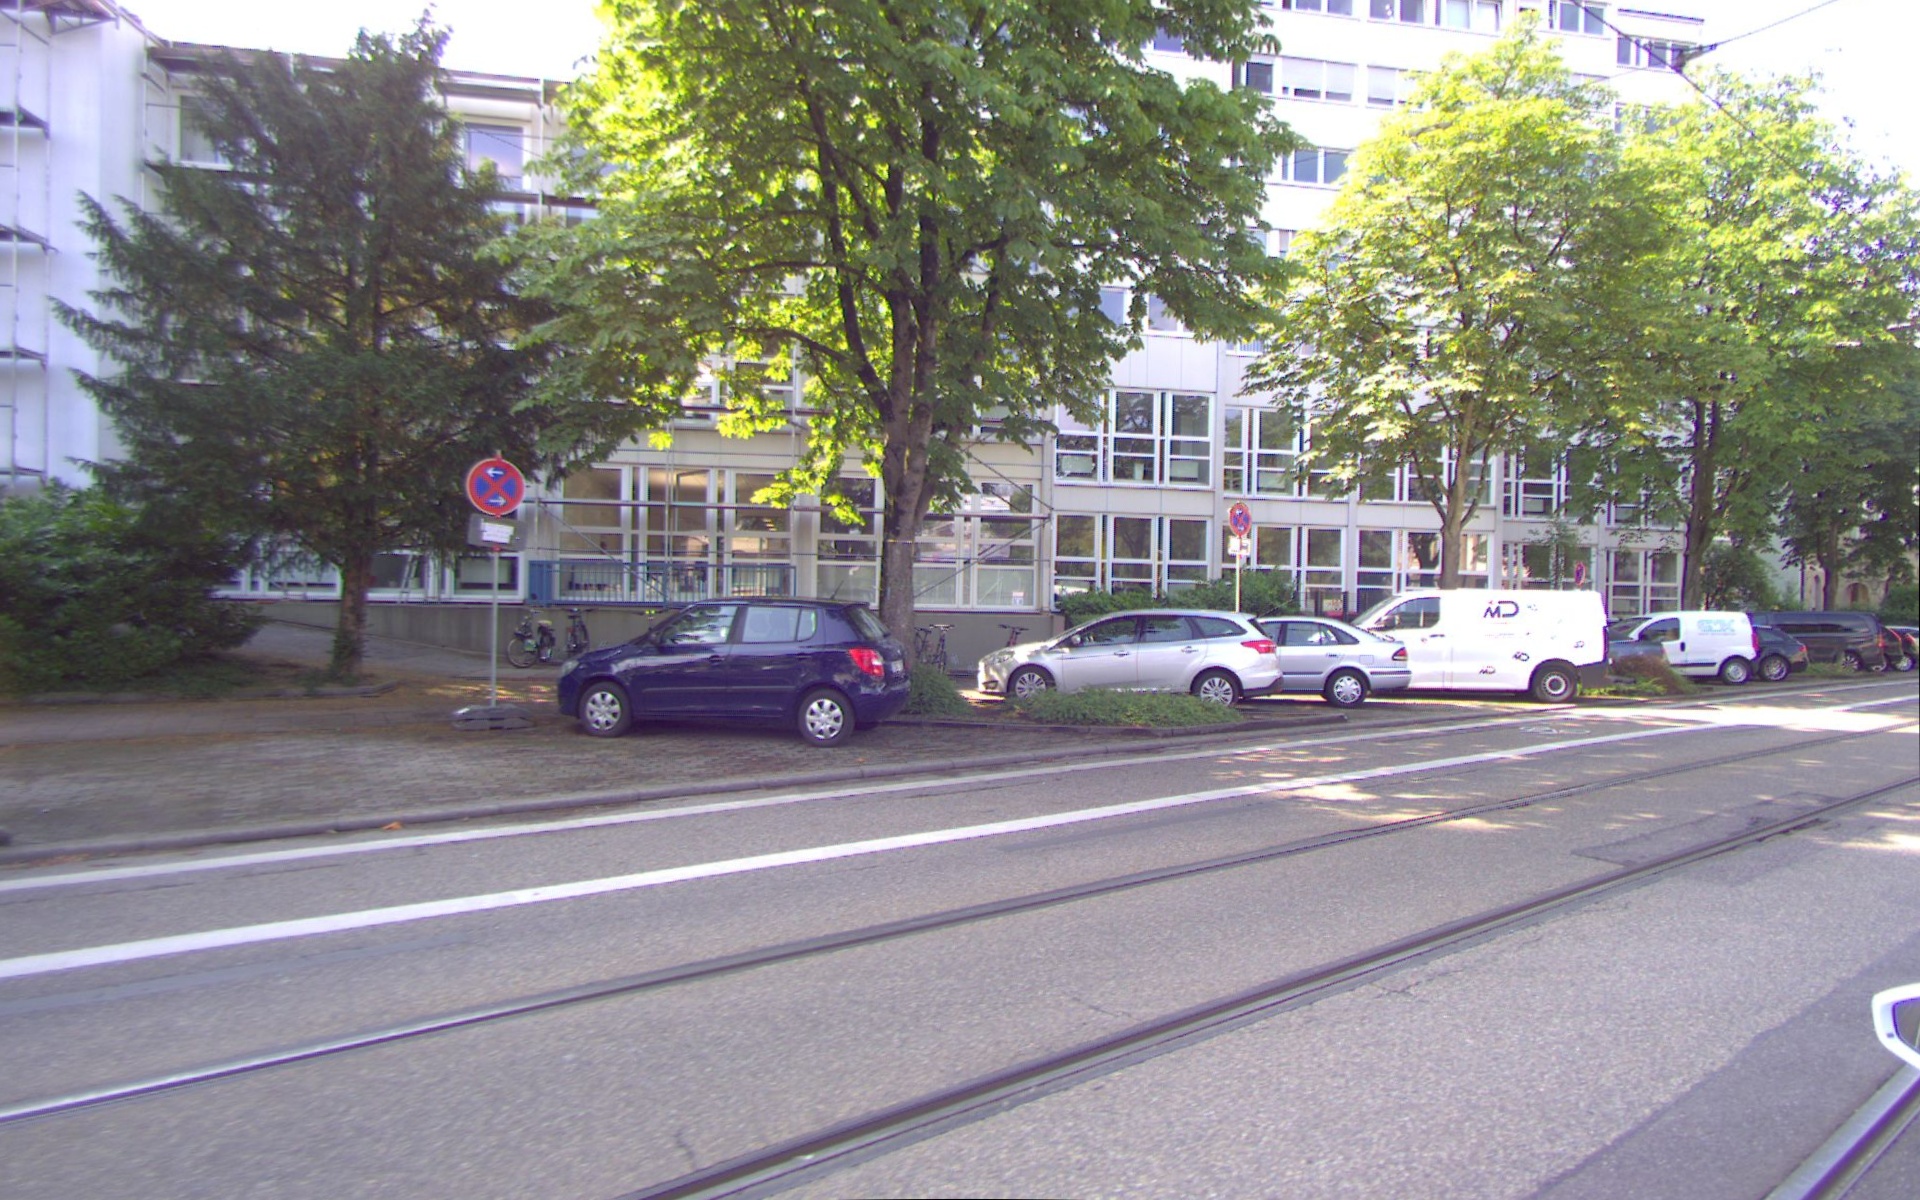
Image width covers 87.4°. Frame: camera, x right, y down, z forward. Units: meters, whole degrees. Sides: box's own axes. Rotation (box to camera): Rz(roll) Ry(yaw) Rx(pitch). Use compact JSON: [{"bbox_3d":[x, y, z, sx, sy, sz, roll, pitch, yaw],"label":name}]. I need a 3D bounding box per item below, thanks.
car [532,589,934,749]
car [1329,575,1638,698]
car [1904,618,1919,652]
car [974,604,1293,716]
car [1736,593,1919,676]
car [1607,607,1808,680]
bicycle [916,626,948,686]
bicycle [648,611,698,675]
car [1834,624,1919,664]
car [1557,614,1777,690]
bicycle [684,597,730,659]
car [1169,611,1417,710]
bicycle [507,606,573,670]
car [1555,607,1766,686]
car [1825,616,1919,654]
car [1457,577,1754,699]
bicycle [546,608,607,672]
[{"bbox_3d":[-2.415,0.675,11.068,3.919,1.482,1.761,1,0,13],"label":"car"},{"bbox_3d":[9.246,0.689,18.183,4.549,1.937,1.934,-3,-2,14],"label":"car"},{"bbox_3d":[39.235,1.397,38.763,3.711,1.324,1.639,1,0,17],"label":"car"},{"bbox_3d":[2.508,0.842,14.942,4.371,1.445,1.741,1,-1,8],"label":"car"},{"bbox_3d":[25.902,0.985,29.702,4.119,2.109,1.884,4,2,9],"label":"car"},{"bbox_3d":[19.263,1.087,26.051,3.682,1.735,1.885,1,0,9],"label":"car"},{"bbox_3d":[-0.567,1.087,20.042,0.487,1.101,2.054,1,0,-5],"label":"bicycle"},{"bbox_3d":[-5.316,0.762,18.691,0.487,1.101,2.054,1,0,-5],"label":"bicycle"},{"bbox_3d":[33.506,1.559,35.390,3.711,1.324,1.639,1,0,17],"label":"car"},{"bbox_3d":[15.567,1.127,22.288,3.563,1.520,1.764,1,-1,7],"label":"car"},{"bbox_3d":[-4.707,0.501,18.781,0.487,1.101,2.054,1,0,-5],"label":"bicycle"},{"bbox_3d":[5.392,1.009,16.711,3.707,1.495,1.727,-2,-2,12],"label":"car"},{"bbox_3d":[-7.645,0.660,18.365,0.487,1.101,2.054,1,0,-5],"label":"bicycle"},{"bbox_3d":[16.740,1.071,24.197,3.682,1.735,1.885,1,0,9],"label":"car"},{"bbox_3d":[34.673,1.285,37.110,3.711,1.324,1.639,1,0,17],"label":"car"},{"bbox_3d":[12.546,0.701,19.861,4.481,2.024,1.905,3,0,14],"label":"car"},{"bbox_3d":[-7.010,0.703,18.443,0.487,1.101,2.054,1,0,-5],"label":"bicycle"}]
